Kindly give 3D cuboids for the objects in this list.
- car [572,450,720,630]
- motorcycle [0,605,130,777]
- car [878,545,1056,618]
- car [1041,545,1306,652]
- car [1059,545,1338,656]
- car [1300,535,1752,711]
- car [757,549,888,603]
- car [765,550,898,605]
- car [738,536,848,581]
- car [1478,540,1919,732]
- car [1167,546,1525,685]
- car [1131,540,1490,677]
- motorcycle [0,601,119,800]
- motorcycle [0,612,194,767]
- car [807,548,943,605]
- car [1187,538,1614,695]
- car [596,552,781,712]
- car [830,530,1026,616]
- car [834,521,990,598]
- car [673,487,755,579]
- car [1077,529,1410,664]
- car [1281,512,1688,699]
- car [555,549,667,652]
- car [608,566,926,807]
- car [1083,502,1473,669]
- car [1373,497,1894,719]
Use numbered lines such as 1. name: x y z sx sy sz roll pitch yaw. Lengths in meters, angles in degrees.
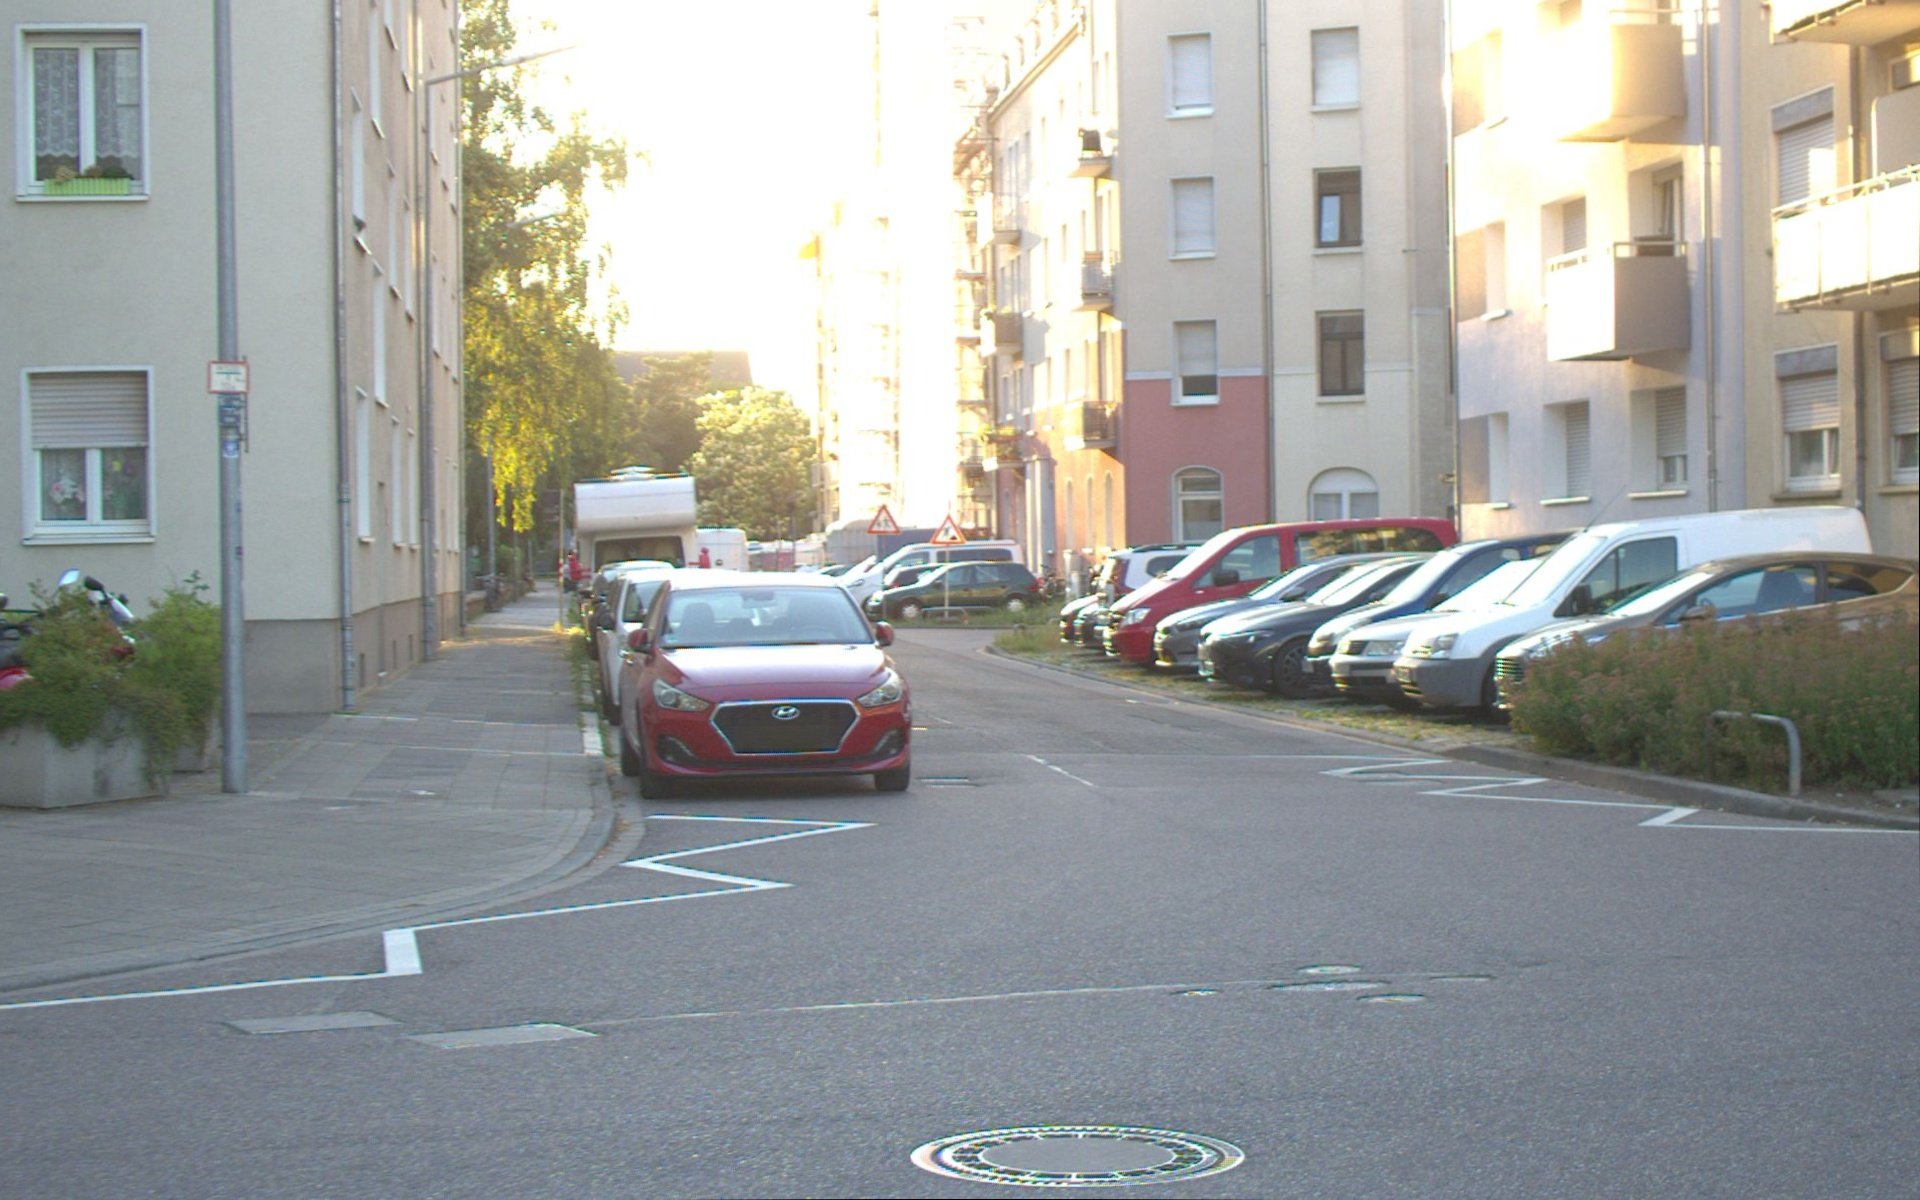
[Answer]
1. car: -6.326 -1.177 68.809 2.619 3.257 7.698 -3 1 -6
2. motorcycle: -6.129 0.594 23.267 0.682 1.075 2.035 -1 1 -5
3. car: 0.151 -0.443 81.503 3.986 1.525 1.659 -3 1 -6
4. car: 3.296 -0.032 53.394 3.811 1.423 1.635 -3 0 -7
5. car: 3.512 0.003 50.886 3.811 1.423 1.635 -3 0 -7
6. car: 5.426 0.202 33.200 3.954 1.517 1.706 -2 1 -6
7. car: -4.389 -0.782 109.616 3.986 1.525 1.659 -3 1 -6
8. car: -4.042 -0.710 107.693 3.986 1.525 1.659 -3 1 -6
9. car: -6.336 -1.573 130.264 3.986 1.525 1.659 -3 1 -6
10. car: 6.521 0.276 29.111 3.871 1.487 1.742 -1 1 -6
11. car: 4.562 0.170 40.859 3.874 1.411 1.637 -3 0 -8
12. car: 4.363 0.099 43.050 4.144 1.466 1.637 -3 0 -7
13. motorcycle: -5.969 0.612 20.866 0.689 1.156 2.032 -1 1 18
14. motorcycle: -6.792 0.662 25.406 2.124 1.101 0.560 -1 1 5
15. car: -2.620 -0.728 105.330 3.986 1.525 1.659 -3 1 -6
16. car: 4.787 0.171 37.679 4.308 1.444 1.655 -3 0 -6
17. car: -2.818 0.291 35.114 1.615 1.468 3.505 -3 1 -8
18. car: -0.837 -0.710 88.673 4.812 1.961 1.739 -3 1 -6
19. car: -1.339 -1.123 94.675 3.986 2.007 2.001 -2 1 -10
20. car: -7.715 -2.056 107.386 2.128 2.708 4.834 -3 1 -8
21. car: 3.969 -0.057 48.440 4.323 1.632 1.818 -3 0 -7
22. car: 5.401 0.044 35.633 3.790 1.689 1.655 -3 0 -6
23. car: -5.824 -0.008 57.083 1.652 1.559 3.877 -3 1 -8
24. car: -1.426 0.528 23.802 1.844 1.468 4.079 -2 1 -8
25. car: 4.175 -0.195 45.576 4.721 1.903 2.059 -3 0 -7
26. car: 6.063 0.065 31.210 4.279 1.854 1.742 -1 0 -6
